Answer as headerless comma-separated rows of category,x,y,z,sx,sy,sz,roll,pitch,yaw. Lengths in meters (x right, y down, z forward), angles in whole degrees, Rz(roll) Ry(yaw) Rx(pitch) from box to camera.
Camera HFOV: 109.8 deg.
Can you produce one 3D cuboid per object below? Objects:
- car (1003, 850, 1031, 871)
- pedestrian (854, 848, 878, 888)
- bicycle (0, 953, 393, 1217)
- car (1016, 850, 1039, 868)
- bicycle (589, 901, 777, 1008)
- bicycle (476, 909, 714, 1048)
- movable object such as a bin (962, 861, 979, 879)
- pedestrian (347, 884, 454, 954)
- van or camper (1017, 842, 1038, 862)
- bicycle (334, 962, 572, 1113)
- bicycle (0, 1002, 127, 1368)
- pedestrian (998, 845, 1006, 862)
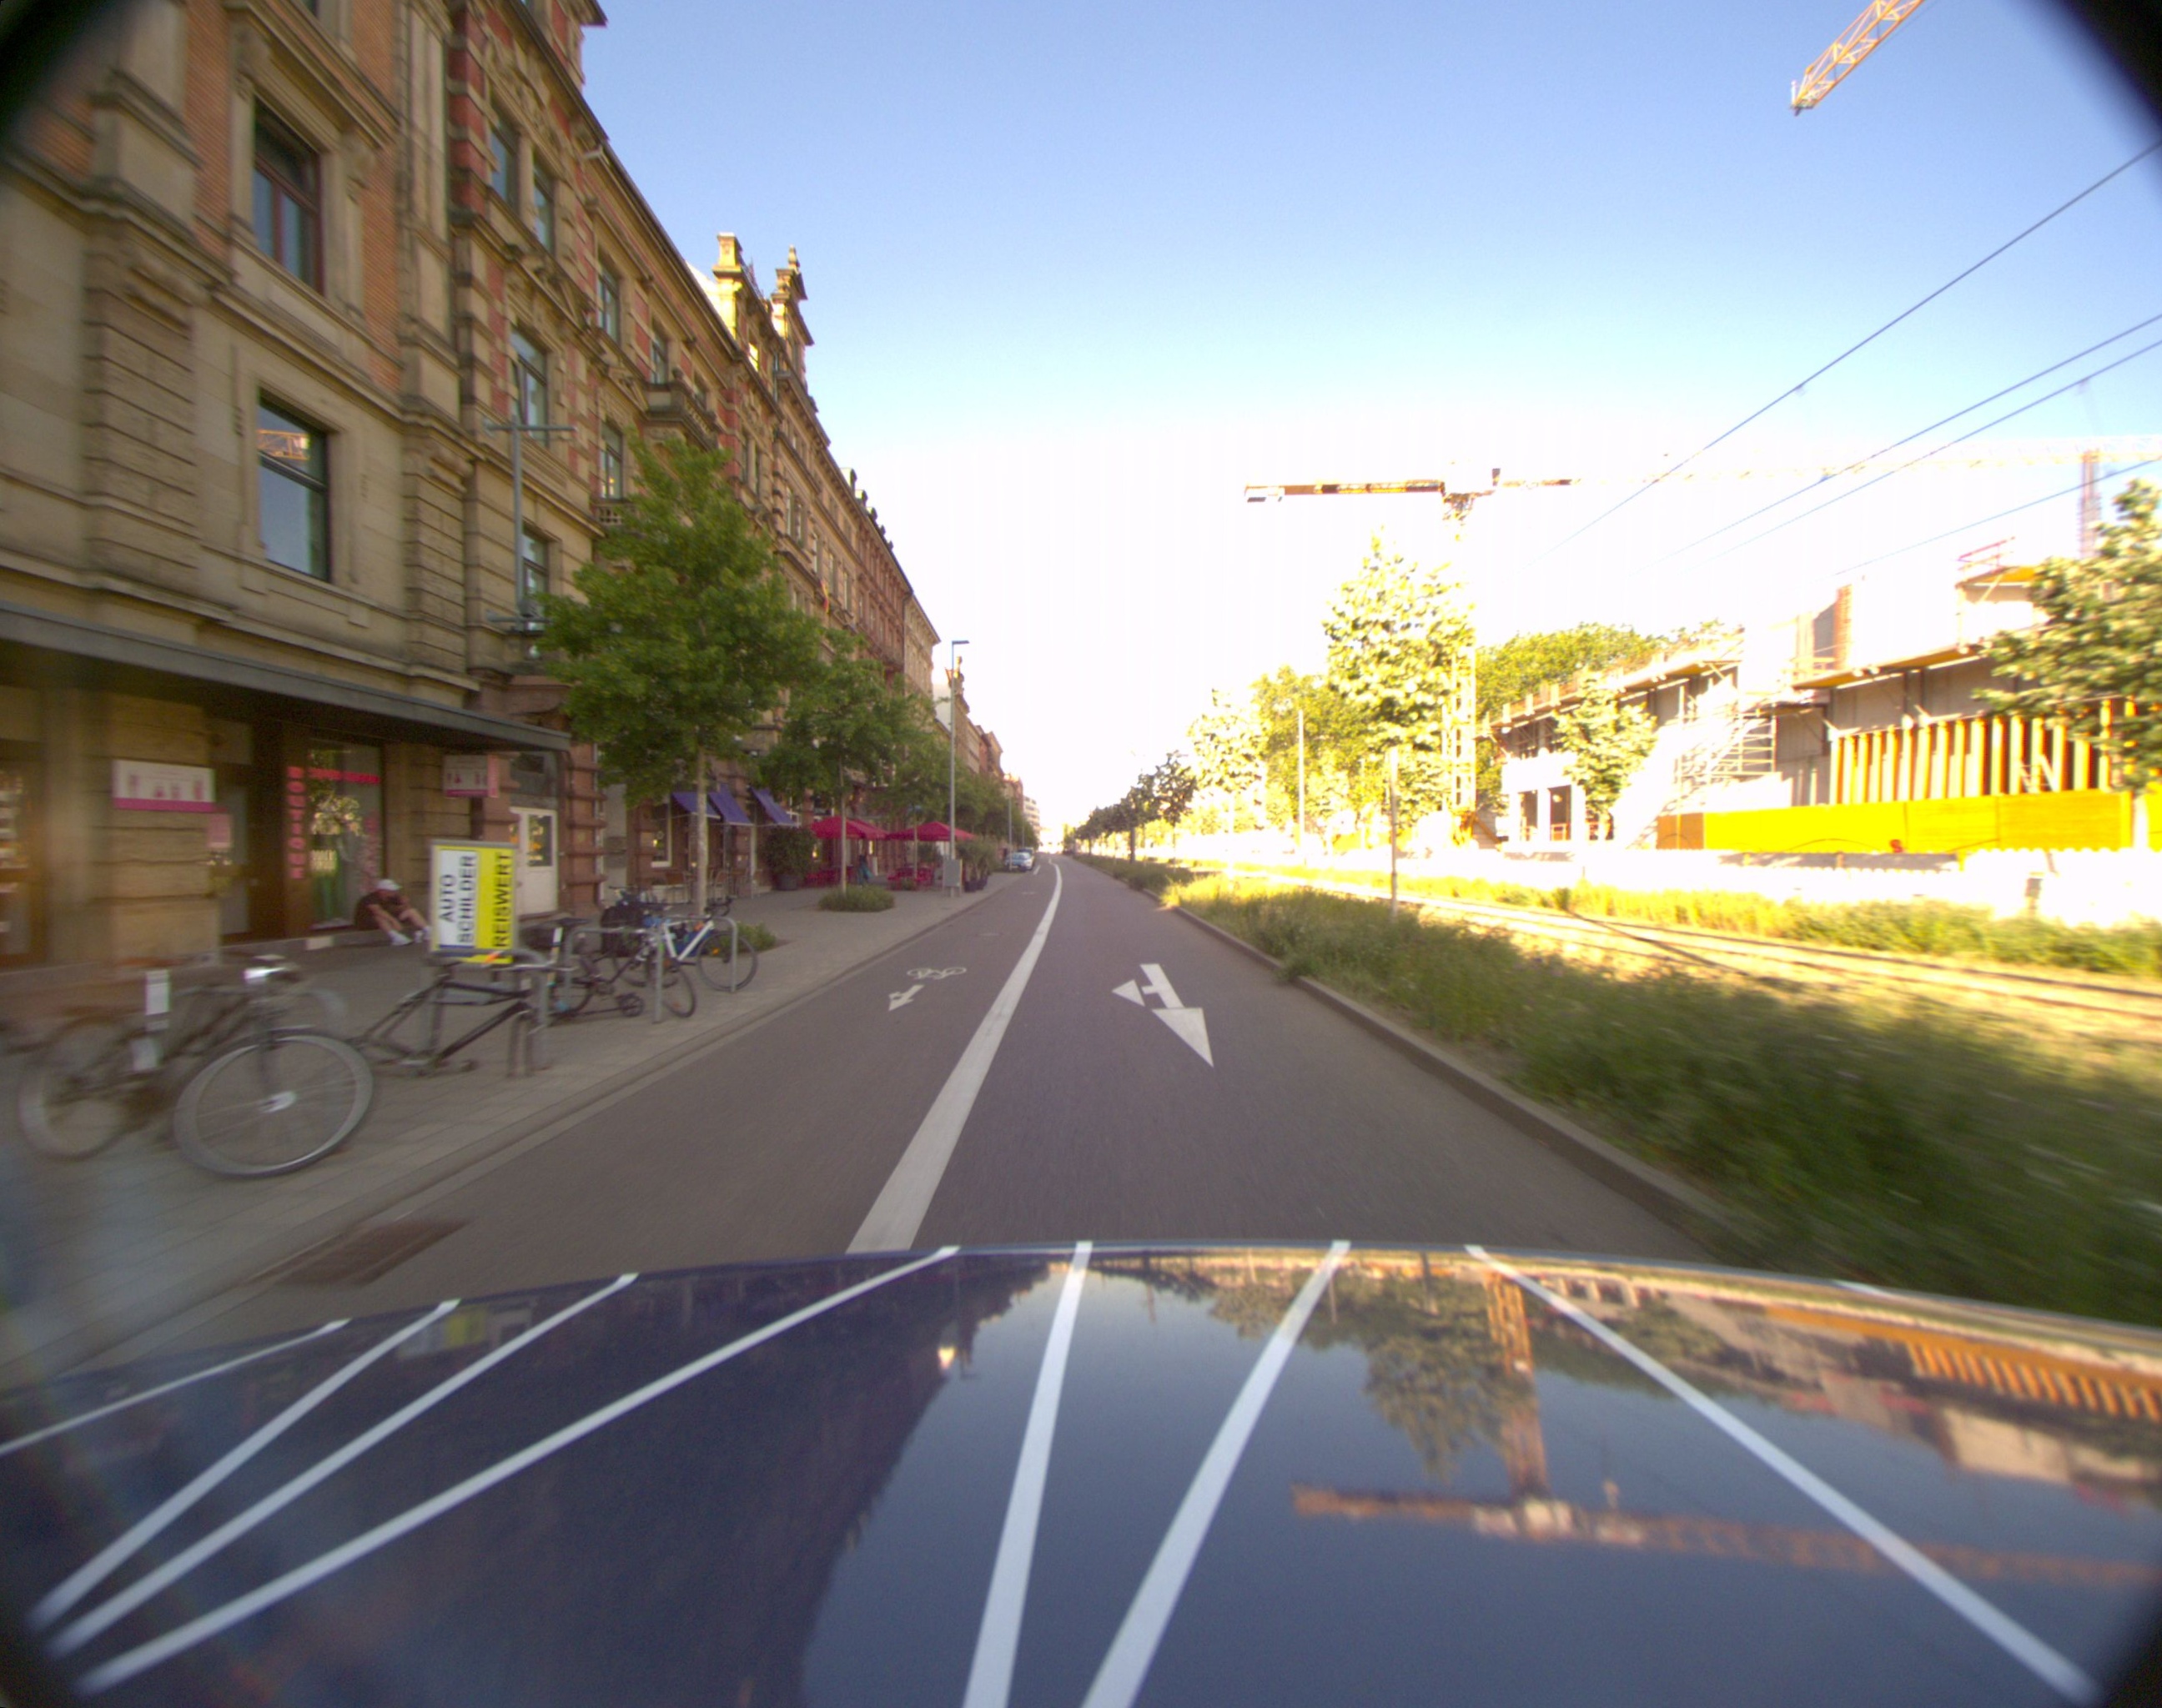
car,-5.002,0.482,59.765,1.853,1.555,4.295,1,1,-1
pedestrian,-8.426,0.554,29.752,0.730,1.525,0.796,1,2,-2
bicycle,-4.518,1.110,3.826,1.725,1.098,0.507,1,2,4
car,-4.675,0.435,66.690,1.854,1.446,5.250,1,1,-3
bicycle,-4.390,1.094,8.430,1.809,1.041,0.566,1,2,4
bicycle,-4.395,1.104,6.924,1.848,1.098,0.566,1,2,4
movable object such as a bin,-5.756,0.831,39.550,0.676,0.919,0.561,3,3,19
pedestrian,-10.083,0.946,11.290,0.815,0.957,0.804,-1,1,1
van or camper,-5.554,-0.222,79.561,1.966,1.960,5.485,1,1,-1
bicycle,-4.324,1.245,5.273,1.277,0.872,0.507,1,2,4
bicycle,-4.332,1.079,2.545,1.757,1.098,0.507,1,2,4
pedestrian,-7.914,-0.021,76.324,0.481,1.718,0.578,0,3,43
